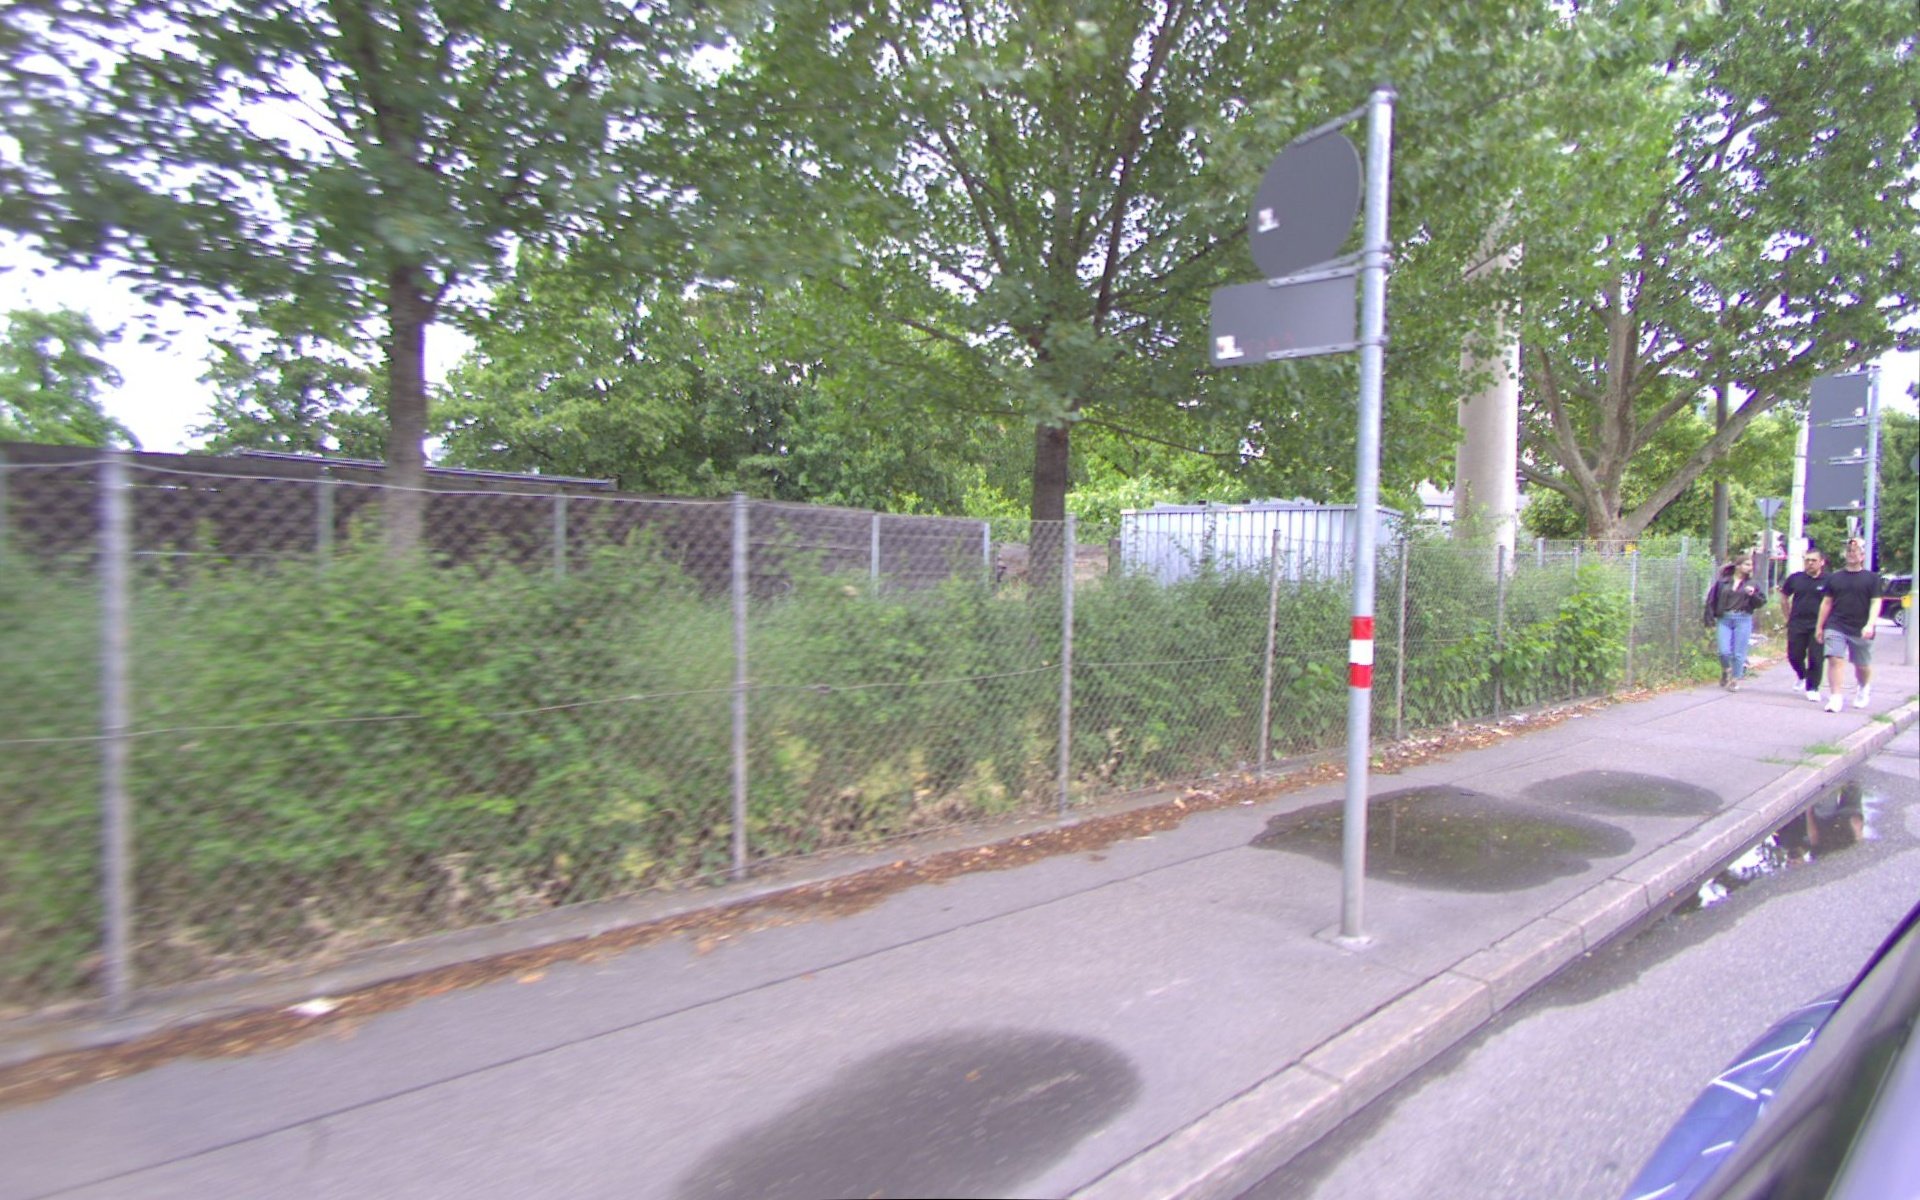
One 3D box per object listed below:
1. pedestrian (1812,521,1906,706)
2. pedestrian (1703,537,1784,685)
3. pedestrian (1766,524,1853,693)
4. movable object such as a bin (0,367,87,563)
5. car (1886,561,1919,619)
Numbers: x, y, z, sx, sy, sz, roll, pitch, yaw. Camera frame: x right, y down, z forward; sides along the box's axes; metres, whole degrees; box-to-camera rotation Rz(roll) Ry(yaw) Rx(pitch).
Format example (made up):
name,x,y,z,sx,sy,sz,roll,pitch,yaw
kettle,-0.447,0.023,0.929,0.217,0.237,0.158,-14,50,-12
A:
name,x,y,z,sx,sy,sz,roll,pitch,yaw
pedestrian,9.634,0.114,10.854,0.660,1.889,0.604,-5,6,-40
pedestrian,9.513,0.110,12.288,0.660,1.709,0.604,-5,6,-40
pedestrian,9.885,0.073,11.785,0.660,1.890,0.604,-1,3,-40
movable object such as a bin,-12.106,-1.346,10.381,4.205,2.037,2.006,-3,5,-16
car,31.226,-0.241,30.670,1.795,1.794,4.239,2,1,-25
